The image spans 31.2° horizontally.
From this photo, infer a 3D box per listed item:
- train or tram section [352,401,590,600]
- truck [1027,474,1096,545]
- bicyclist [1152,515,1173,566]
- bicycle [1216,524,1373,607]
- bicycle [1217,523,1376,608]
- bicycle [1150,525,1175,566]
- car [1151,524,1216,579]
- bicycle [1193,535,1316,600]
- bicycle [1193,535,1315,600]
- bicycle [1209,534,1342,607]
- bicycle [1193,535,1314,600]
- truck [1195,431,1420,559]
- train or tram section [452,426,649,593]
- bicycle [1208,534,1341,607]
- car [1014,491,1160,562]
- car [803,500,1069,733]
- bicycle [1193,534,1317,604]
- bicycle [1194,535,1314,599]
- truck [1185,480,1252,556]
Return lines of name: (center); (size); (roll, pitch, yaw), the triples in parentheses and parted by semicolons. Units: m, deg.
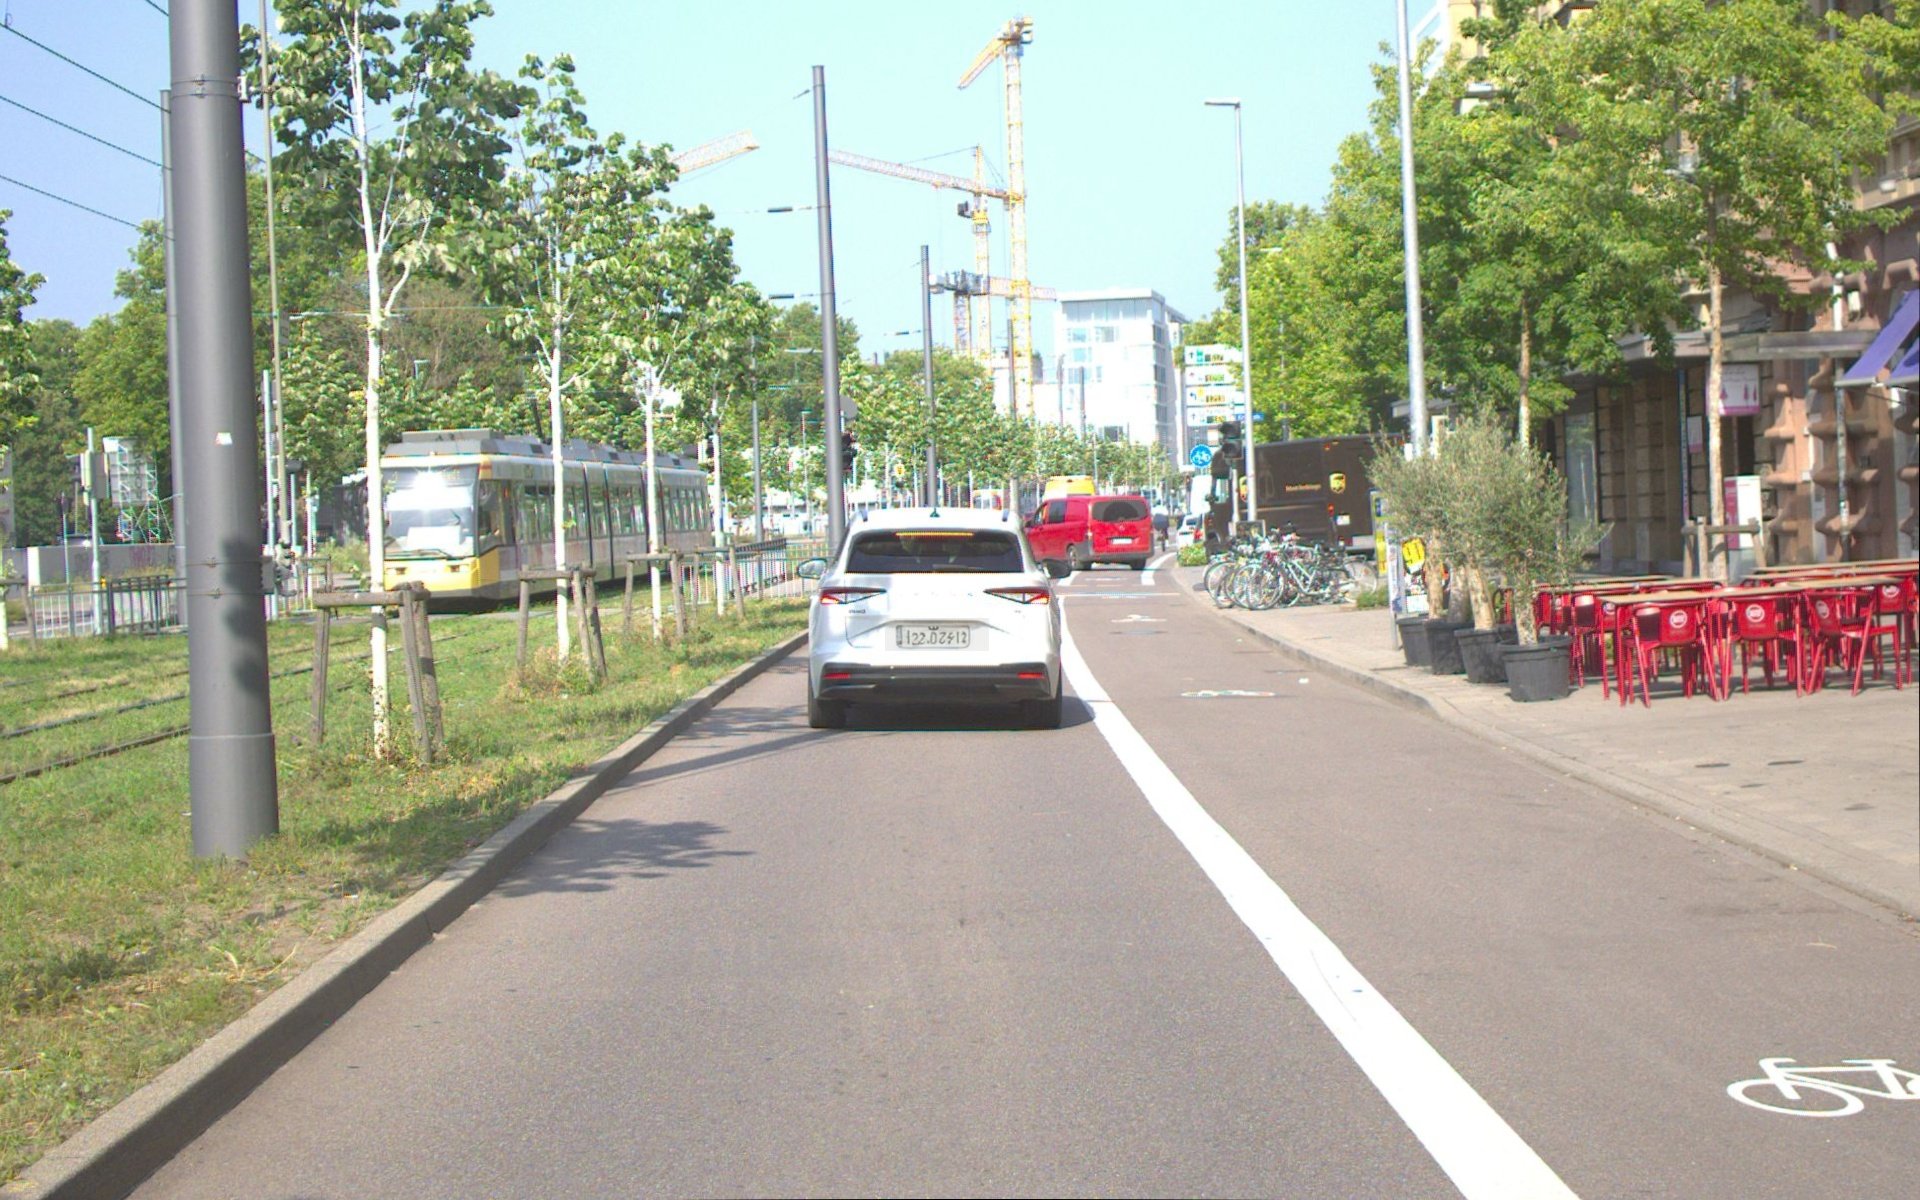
train or tram section: (-9.681, -1.921, 69.611); (2.898, 3.574, 12.478); (-2, 1, 0)
truck: (3.448, -3.091, 117.337); (2.213, 2.310, 5.890); (-2, 1, 1)
bicyclist: (7.634, -2.247, 129.412); (0.709, 1.889, 0.843); (-2, 1, 1)
bicycle: (5.011, -0.524, 51.587); (2.239, 1.100, 0.519); (-4, 1, 1)
bicycle: (4.991, -0.517, 51.032); (2.239, 1.100, 0.588); (-4, 1, 1)
bicycle: (7.631, -2.060, 129.577); (0.781, 1.491, 2.801); (-2, 1, 1)
car: (6.511, -1.416, 99.830); (1.650, 1.494, 3.525); (-1, 1, 7)
bicycle: (4.805, -0.532, 56.161); (1.935, 0.942, 0.440); (-4, 1, 4)
bicycle: (4.834, -0.538, 56.640); (1.935, 0.942, 0.440); (-4, 1, 4)
bicycle: (4.804, -0.449, 52.381); (1.934, 0.983, 0.471); (-4, 1, 1)
bicycle: (4.861, -0.542, 57.023); (1.935, 0.942, 0.428); (-4, 1, 4)
truck: (8.545, -2.552, 85.426); (2.509, 3.001, 6.962); (-2, 1, -22)
train or tram section: (-9.615, -2.080, 82.268); (2.898, 3.574, 12.934); (-2, 1, 1)
bicycle: (4.826, -0.455, 52.861); (1.955, 0.983, 0.471); (-4, 1, 1)
car: (3.120, -1.816, 85.310); (1.993, 1.678, 4.370); (-2, 1, -22)
car: (-0.192, 0.068, 26.053); (1.817, 1.584, 4.407); (-1, 1, -1)
bicycle: (4.781, -0.505, 55.715); (1.935, 1.009, 0.440); (-4, 1, 4)
bicycle: (4.903, -0.547, 57.466); (1.935, 0.942, 0.428); (-4, 1, 4)
truck: (8.843, -2.810, 117.862); (1.993, 2.499, 4.000); (-2, 1, 1)
